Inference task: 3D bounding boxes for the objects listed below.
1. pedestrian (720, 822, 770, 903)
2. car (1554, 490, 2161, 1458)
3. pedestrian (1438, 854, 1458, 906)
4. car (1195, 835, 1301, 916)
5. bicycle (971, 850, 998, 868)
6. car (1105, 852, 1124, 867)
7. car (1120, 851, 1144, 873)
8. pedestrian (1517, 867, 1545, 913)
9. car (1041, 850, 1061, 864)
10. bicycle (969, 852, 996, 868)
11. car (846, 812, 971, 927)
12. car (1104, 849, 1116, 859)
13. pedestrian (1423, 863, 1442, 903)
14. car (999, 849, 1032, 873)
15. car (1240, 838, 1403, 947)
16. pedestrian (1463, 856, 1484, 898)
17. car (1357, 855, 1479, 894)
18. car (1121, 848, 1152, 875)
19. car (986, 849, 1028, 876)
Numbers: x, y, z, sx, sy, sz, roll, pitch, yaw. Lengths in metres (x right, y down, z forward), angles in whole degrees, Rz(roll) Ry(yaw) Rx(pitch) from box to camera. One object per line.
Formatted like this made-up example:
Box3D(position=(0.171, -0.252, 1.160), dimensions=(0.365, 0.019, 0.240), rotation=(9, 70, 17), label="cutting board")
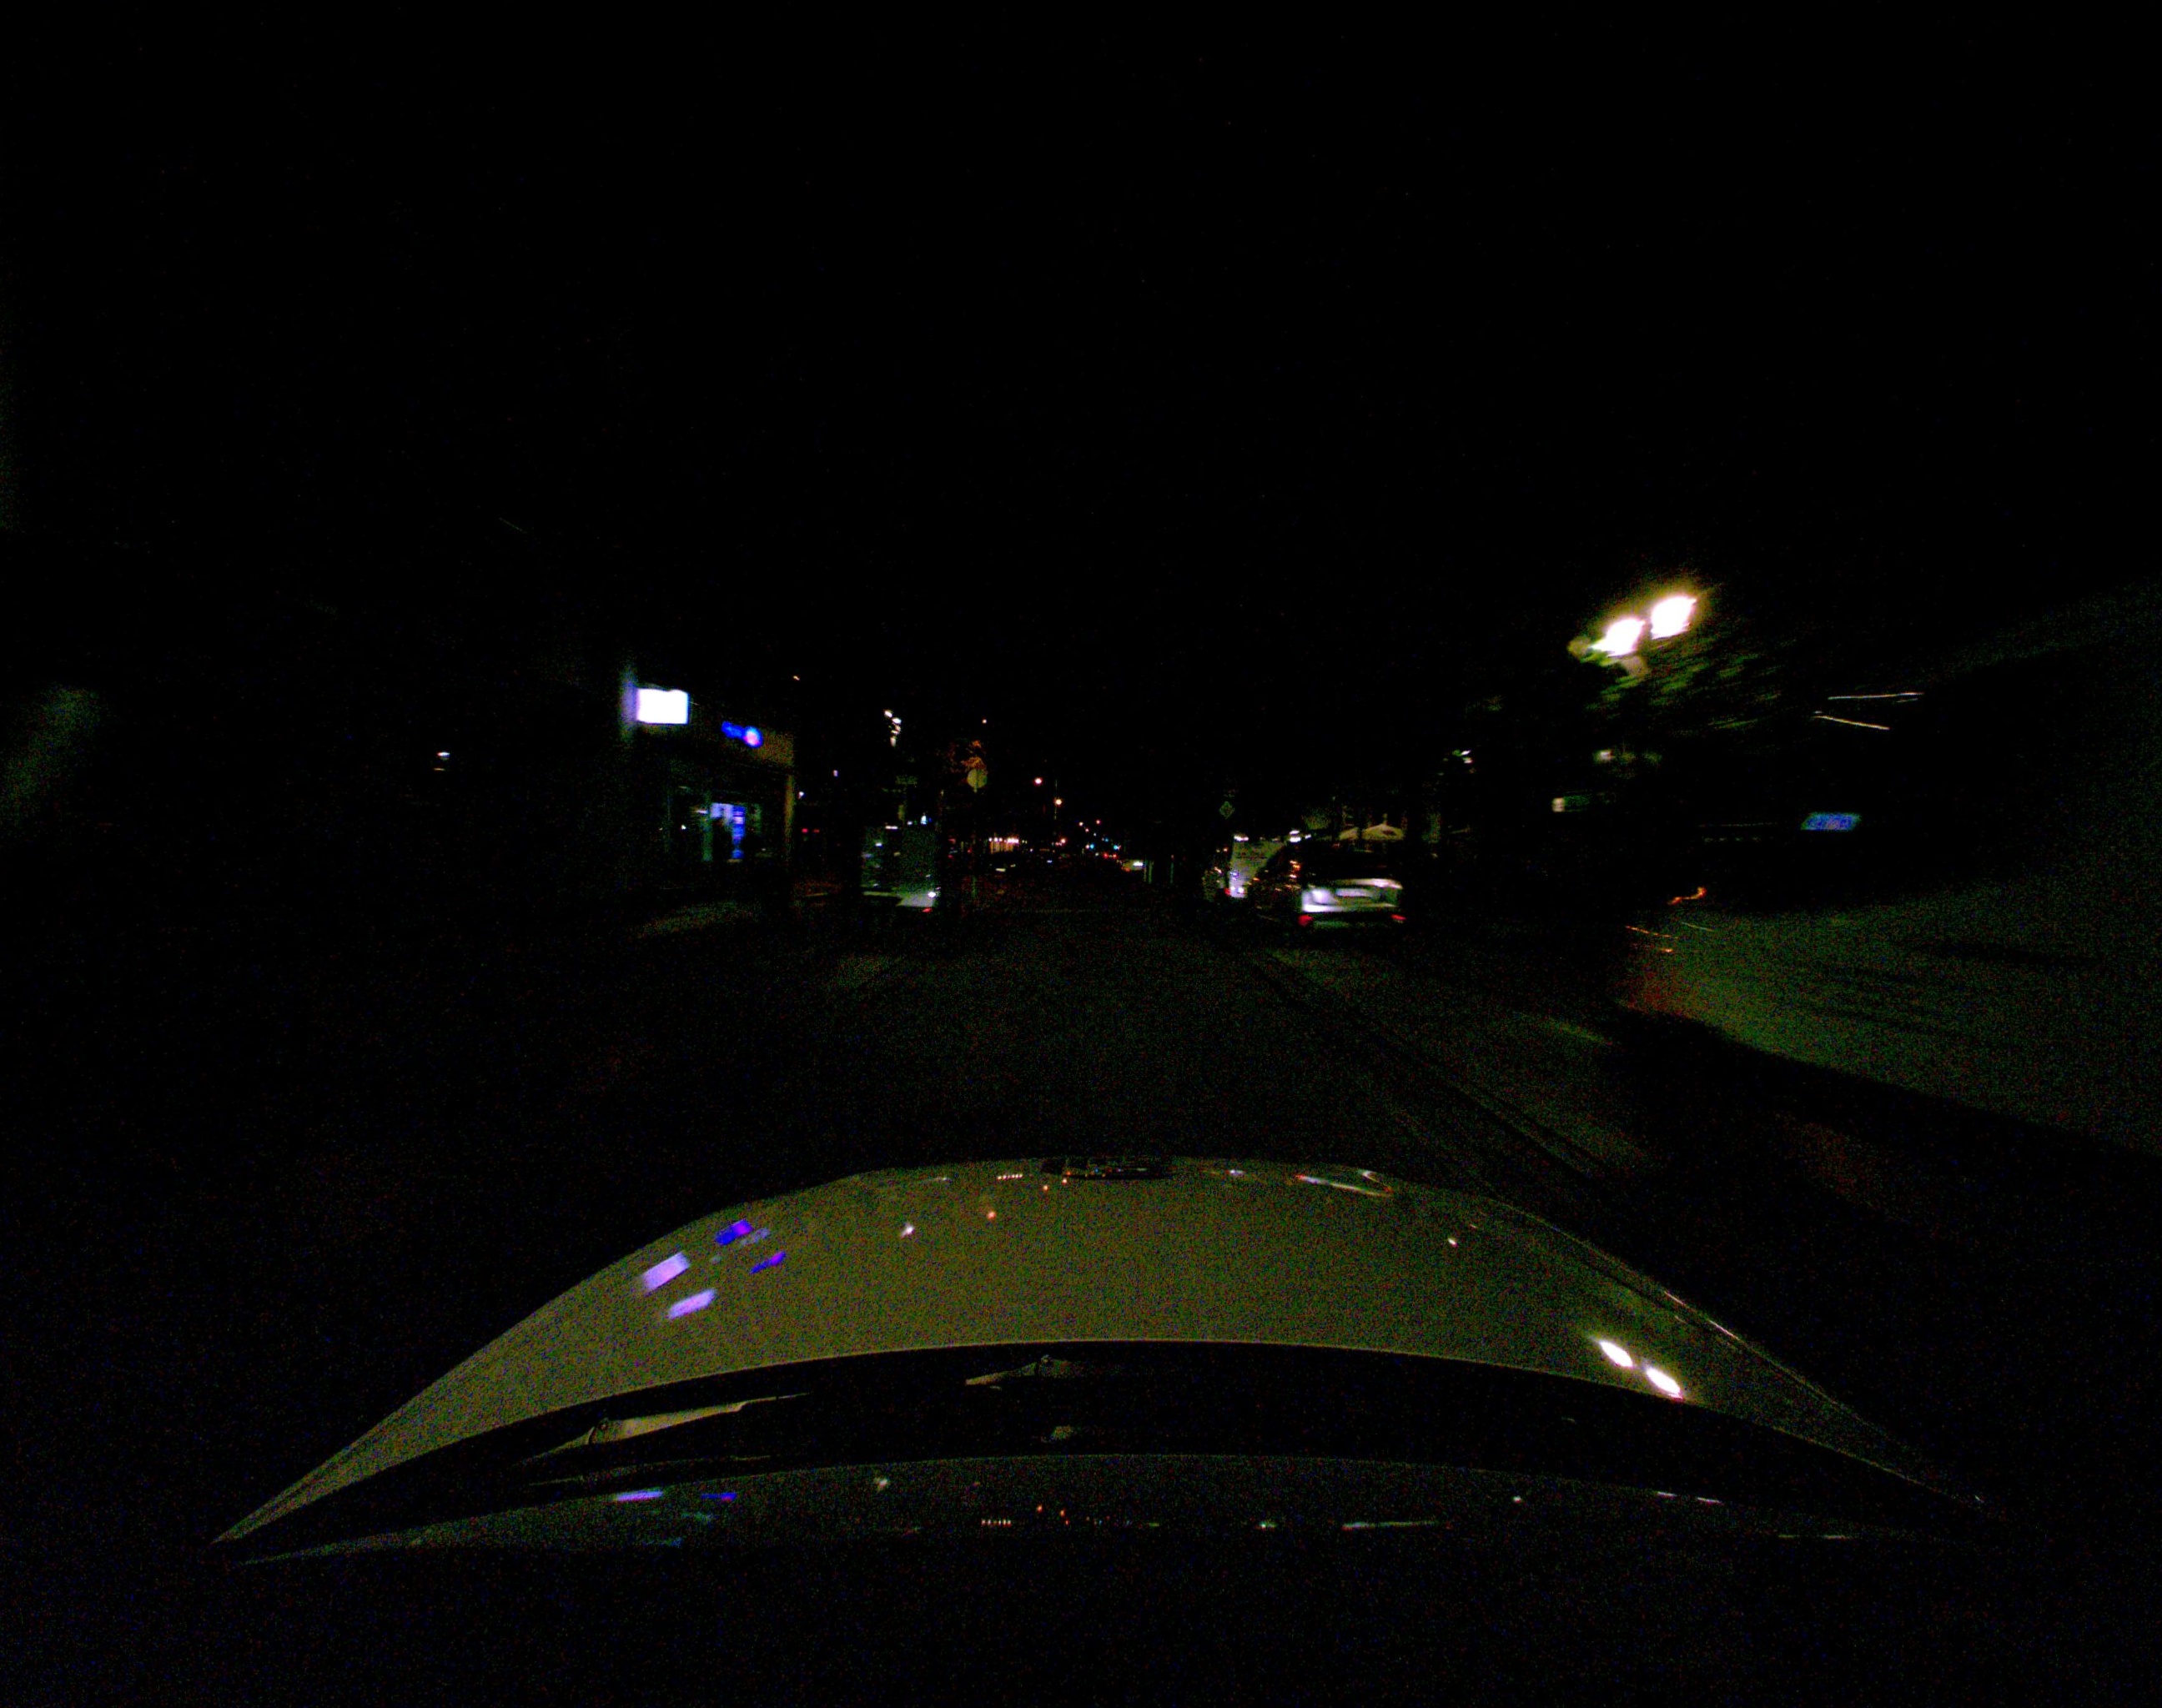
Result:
Box3D(position=(-7.389, 0.182, 17.944), dimensions=(0.666, 1.719, 0.909), rotation=(1, 0, 2), label="pedestrian")
Box3D(position=(3.666, 0.298, 1.931), dimensions=(2.127, 2.326, 5.152), rotation=(1, 0, 1), label="car")
Box3D(position=(11.543, 0.811, 25.617), dimensions=(0.476, 1.587, 0.374), rotation=(1, 0, 37), label="pedestrian")
Box3D(position=(4.098, 0.472, 20.709), dimensions=(1.782, 1.822, 4.580), rotation=(1, 0, 1), label="car")
Box3D(position=(-7.008, 0.385, 59.256), dimensions=(1.844, 1.254, 0.533), rotation=(1, 0, 1), label="bicycle")
Box3D(position=(3.306, 0.493, 80.317), dimensions=(1.757, 1.414, 4.811), rotation=(1, 0, 3), label="car")
Box3D(position=(3.859, 0.565, 61.865), dimensions=(1.683, 1.536, 4.018), rotation=(2, 0, 2), label="car")
Box3D(position=(12.707, 1.010, 22.992), dimensions=(0.675, 1.264, 0.532), rotation=(1, 0, 29), label="pedestrian")
Box3D(position=(-3.161, 0.289, 86.909), dimensions=(1.734, 1.413, 4.498), rotation=(2, 0, 2), label="car")
Box3D(position=(-7.071, 0.437, 58.603), dimensions=(1.844, 1.035, 0.533), rotation=(3, 0, 1), label="bicycle")
Box3D(position=(-3.648, 0.286, 18.136), dimensions=(1.849, 2.087, 5.084), rotation=(3, 0, -3), label="car")
Box3D(position=(4.688, 0.039, 133.013), dimensions=(1.986, 1.643, 4.002), rotation=(1, 0, 1), label="car")
Box3D(position=(10.671, 0.877, 24.727), dimensions=(0.385, 1.168, 0.522), rotation=(1, 0, 37), label="pedestrian")
Box3D(position=(-4.393, 0.432, 54.988), dimensions=(1.715, 1.428, 3.978), rotation=(3, 0, 2), label="car")
Box3D(position=(4.132, 0.577, 14.720), dimensions=(1.679, 1.659, 4.296), rotation=(1, 0, 0), label="car")
Box3D(position=(12.023, 0.695, 24.942), dimensions=(0.522, 1.264, 0.505), rotation=(1, 0, 31), label="pedestrian")
Box3D(position=(13.889, 0.840, 33.705), dimensions=(4.301, 1.531, 1.803), rotation=(1, -1, 0), label="car")
Box3D(position=(3.256, 0.426, 48.339), dimensions=(1.763, 1.537, 4.219), rotation=(0, 0, 2), label="car")
Box3D(position=(-4.400, 0.470, 48.844), dimensions=(1.800, 1.425, 4.923), rotation=(3, 0, 2), label="car")
